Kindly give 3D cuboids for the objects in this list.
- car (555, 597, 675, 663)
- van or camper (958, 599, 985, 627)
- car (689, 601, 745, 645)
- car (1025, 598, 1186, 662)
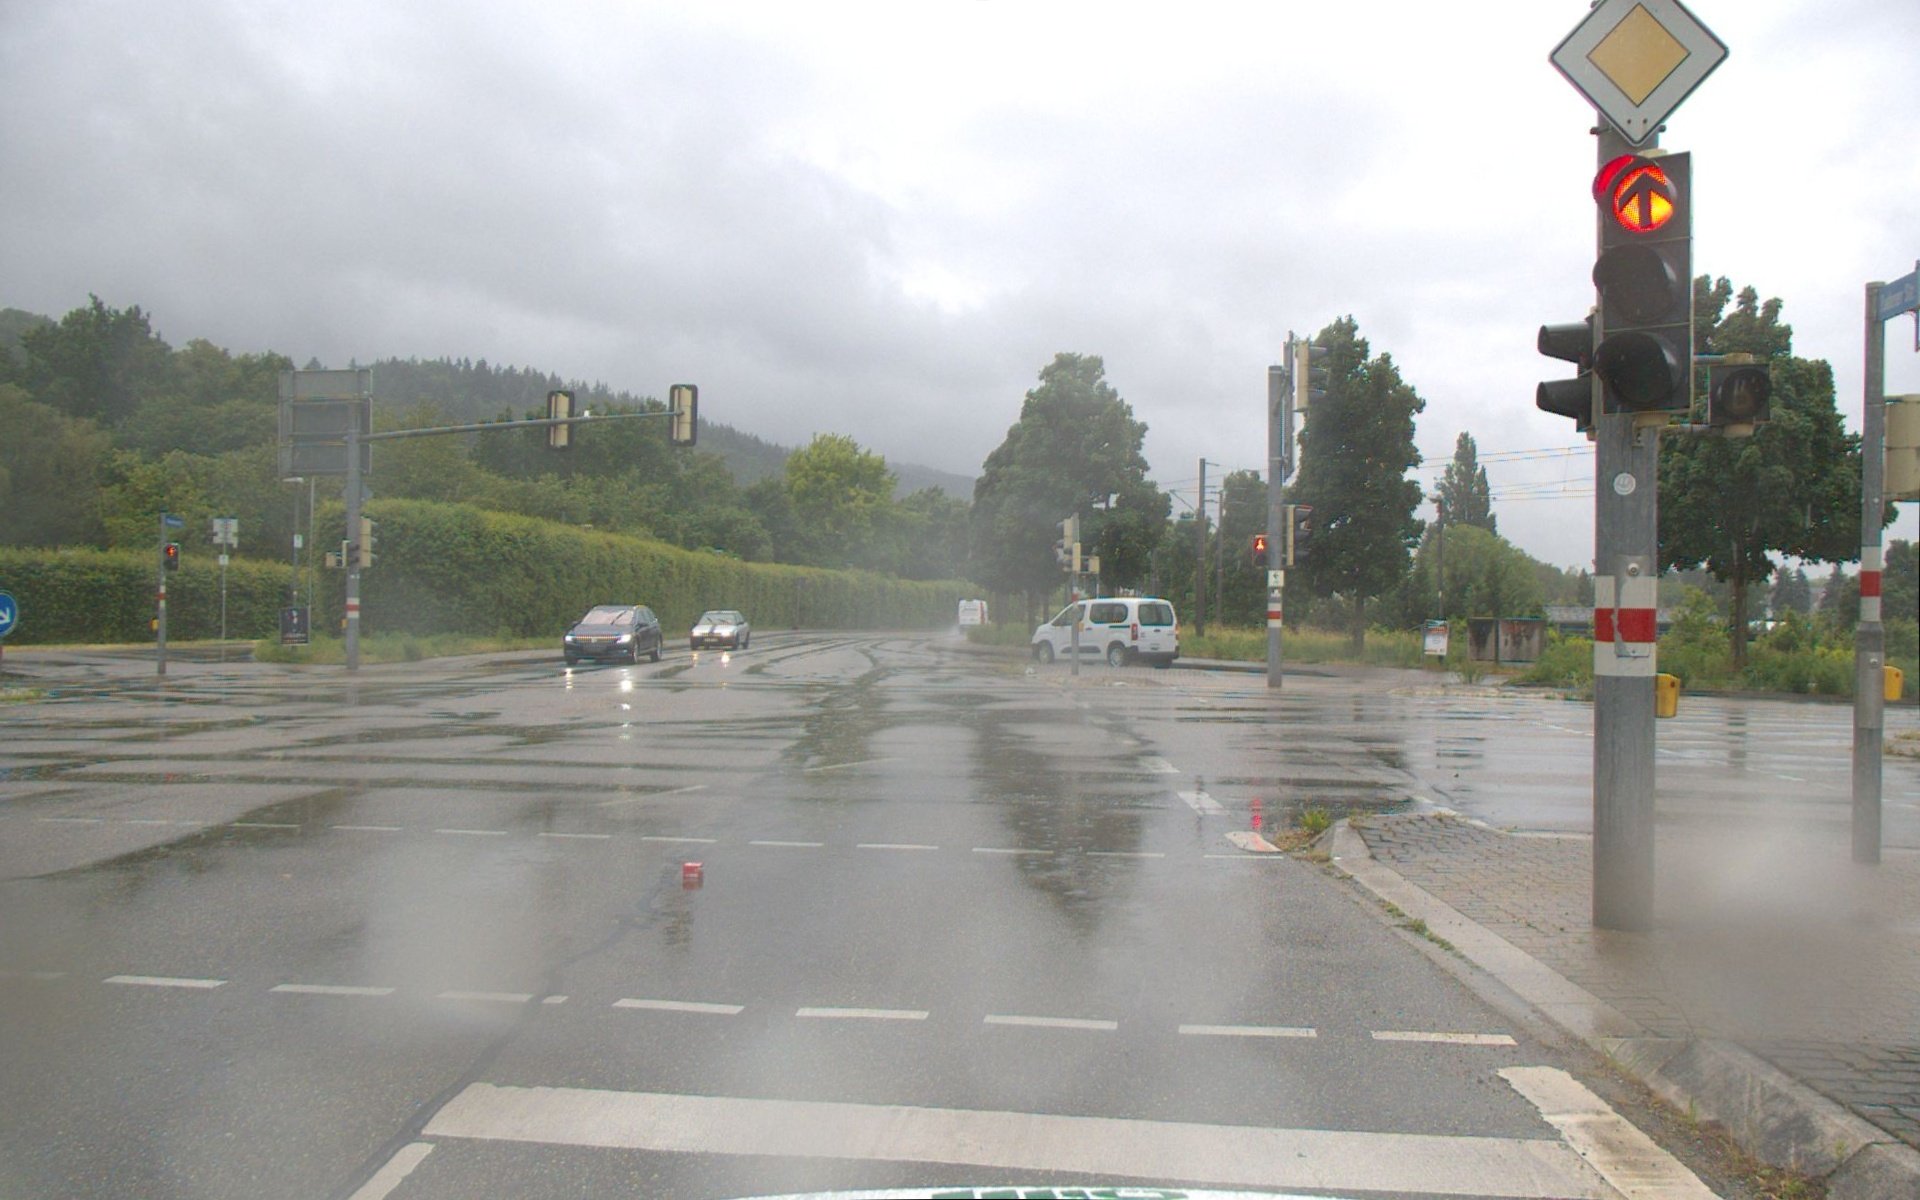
[{"bbox_3d":[-8.993,0.741,43.472,1.839,1.601,4.647,-1,0,4],"label":"car"},{"bbox_3d":[0.908,1.063,135.278,2.109,2.207,4.864,1,0,0],"label":"van or camper"},{"bbox_3d":[-8.779,0.823,59.891,1.526,1.507,3.360,1,0,0],"label":"car"},{"bbox_3d":[3.763,0.733,43.340,1.804,1.581,4.289,0,0,-38],"label":"car"}]
